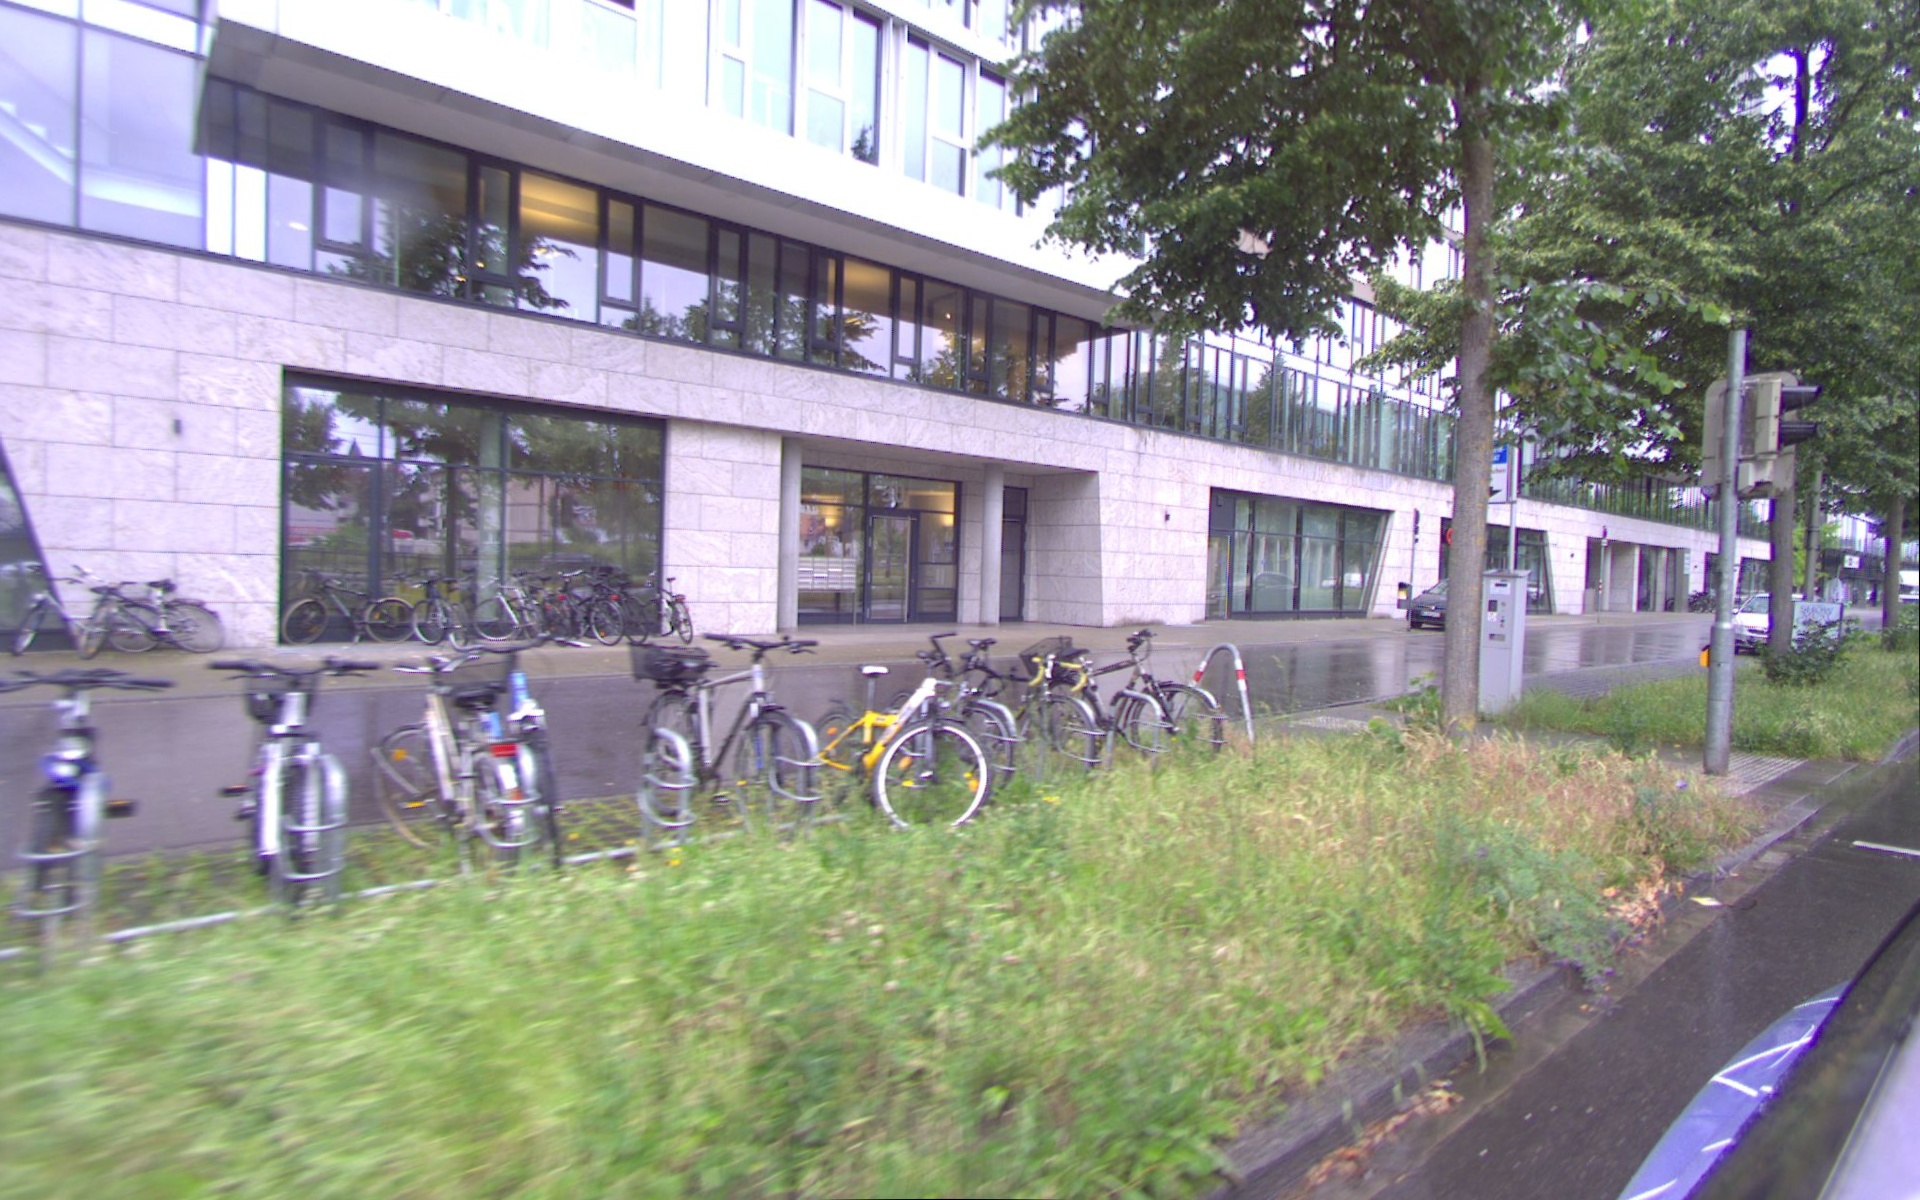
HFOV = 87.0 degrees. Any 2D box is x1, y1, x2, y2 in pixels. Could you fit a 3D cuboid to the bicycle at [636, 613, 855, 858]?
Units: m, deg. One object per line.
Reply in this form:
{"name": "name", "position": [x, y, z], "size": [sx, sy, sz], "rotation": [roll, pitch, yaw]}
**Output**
{"name": "bicycle", "position": [-1.256, 0.678, 5.667], "size": [1.706, 1.116, 0.279], "rotation": [3, 2, 44]}

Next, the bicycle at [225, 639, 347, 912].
{"name": "bicycle", "position": [-2.951, 0.679, 4.390], "size": [0.270, 0.908, 1.413], "rotation": [0, 2, -41]}

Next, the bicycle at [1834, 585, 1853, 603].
{"name": "bicycle", "position": [57.108, -0.377, 65.433], "size": [2.026, 1.144, 0.519], "rotation": [0, 2, -38]}

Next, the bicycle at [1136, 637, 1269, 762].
{"name": "bicycle", "position": [1.983, 0.791, 8.424], "size": [0.270, 0.859, 1.295], "rotation": [0, 2, -28]}

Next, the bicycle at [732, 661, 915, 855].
{"name": "bicycle", "position": [-0.792, 0.827, 5.626], "size": [0.271, 0.860, 1.289], "rotation": [0, 2, -45]}

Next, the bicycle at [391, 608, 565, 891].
{"name": "bicycle", "position": [-2.320, 0.608, 4.778], "size": [0.292, 1.066, 1.615], "rotation": [0, 2, -42]}

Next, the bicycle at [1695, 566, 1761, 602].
{"name": "bicycle", "position": [41.339, -0.884, 54.521], "size": [0.694, 1.883, 2.690], "rotation": [0, 2, -35]}

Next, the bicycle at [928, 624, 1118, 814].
{"name": "bicycle", "position": [0.374, 0.732, 6.826], "size": [0.400, 1.030, 1.580], "rotation": [0, 2, -33]}

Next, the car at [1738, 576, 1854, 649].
{"name": "car", "position": [20.058, 0.322, 24.205], "size": [1.881, 1.525, 4.650], "rotation": [3, 0, 43]}

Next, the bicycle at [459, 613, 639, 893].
{"name": "bicycle", "position": [-2.075, 0.659, 4.997], "size": [0.292, 1.110, 1.615], "rotation": [0, 2, -42]}

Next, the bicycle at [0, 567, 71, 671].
{"name": "bicycle", "position": [-10.077, 0.167, 11.062], "size": [0.415, 1.041, 1.699], "rotation": [-1, 2, -37]}

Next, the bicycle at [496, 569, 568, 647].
{"name": "bicycle", "position": [-6.227, 0.084, 14.681], "size": [0.531, 1.041, 1.812], "rotation": [-1, 2, -37]}

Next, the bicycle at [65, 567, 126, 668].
{"name": "bicycle", "position": [-9.699, 0.156, 11.386], "size": [0.415, 1.041, 1.699], "rotation": [-1, 2, -37]}

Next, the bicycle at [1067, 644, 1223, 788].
{"name": "bicycle", "position": [1.320, 0.810, 7.415], "size": [0.270, 0.859, 1.293], "rotation": [0, 2, -35]}

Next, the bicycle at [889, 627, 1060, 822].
{"name": "bicycle", "position": [0.049, 0.734, 6.506], "size": [0.342, 1.030, 1.444], "rotation": [0, 2, -33]}

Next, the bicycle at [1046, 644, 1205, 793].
{"name": "bicycle", "position": [1.134, 0.792, 7.145], "size": [0.270, 0.868, 1.293], "rotation": [0, 2, -35]}

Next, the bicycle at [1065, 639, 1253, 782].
{"name": "bicycle", "position": [1.474, 0.796, 7.785], "size": [0.270, 0.859, 1.677], "rotation": [0, 2, -36]}

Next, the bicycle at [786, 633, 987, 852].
{"name": "bicycle", "position": [-0.470, 0.752, 5.842], "size": [0.343, 1.030, 1.455], "rotation": [0, 2, -41]}

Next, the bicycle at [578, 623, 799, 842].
{"name": "bicycle", "position": [-1.508, 0.635, 5.428], "size": [1.706, 0.960, 0.308], "rotation": [1, 1, 44]}

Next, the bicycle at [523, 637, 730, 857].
{"name": "bicycle", "position": [-1.766, 0.675, 5.195], "size": [0.308, 0.860, 1.708], "rotation": [0, 2, -43]}

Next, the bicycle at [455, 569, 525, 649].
{"name": "bicycle", "position": [-6.673, 0.093, 14.339], "size": [0.531, 1.041, 1.812], "rotation": [-1, 2, -37]}

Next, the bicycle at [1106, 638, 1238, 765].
{"name": "bicycle", "position": [1.707, 0.792, 8.295], "size": [0.270, 0.859, 1.295], "rotation": [0, 2, -28]}

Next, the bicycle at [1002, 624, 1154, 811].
{"name": "bicycle", "position": [0.771, 0.746, 6.922], "size": [0.270, 1.087, 1.294], "rotation": [0, 2, -32]}

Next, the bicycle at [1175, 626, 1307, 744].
{"name": "bicycle", "position": [2.450, 0.714, 8.943], "size": [0.295, 0.884, 1.295], "rotation": [0, 2, -28]}

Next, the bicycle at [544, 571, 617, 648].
{"name": "bicycle", "position": [-5.665, 0.110, 15.051], "size": [0.531, 1.041, 1.812], "rotation": [-1, 2, -37]}

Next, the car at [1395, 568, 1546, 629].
{"name": "car", "position": [14.673, -0.042, 28.968], "size": [4.944, 1.519, 1.999], "rotation": [1, 3, -40]}

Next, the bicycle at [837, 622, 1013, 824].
{"name": "bicycle", "position": [-0.261, 0.694, 6.267], "size": [0.342, 1.030, 1.444], "rotation": [0, 2, -35]}

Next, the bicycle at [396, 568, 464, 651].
{"name": "bicycle", "position": [-7.280, 0.098, 13.871], "size": [0.531, 1.041, 1.812], "rotation": [-1, 2, -37]}

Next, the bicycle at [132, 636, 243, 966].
{"name": "bicycle", "position": [-3.171, 0.704, 4.118], "size": [0.270, 1.035, 1.618], "rotation": [-1, 1, -40]}

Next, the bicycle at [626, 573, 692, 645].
{"name": "bicycle", "position": [-4.763, 0.114, 15.951], "size": [0.394, 1.041, 1.812], "rotation": [-1, 2, -37]}

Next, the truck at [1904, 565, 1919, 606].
{"name": "truck", "position": [85.574, -1.261, 89.050], "size": [8.405, 3.483, 3.028], "rotation": [-1, 2, -43]}

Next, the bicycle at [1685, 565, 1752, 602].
{"name": "bicycle", "position": [40.116, -0.907, 53.578], "size": [0.694, 1.883, 2.690], "rotation": [0, 2, -35]}

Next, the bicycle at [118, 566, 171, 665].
{"name": "bicycle", "position": [-9.353, 0.144, 11.634], "size": [0.404, 1.041, 1.755], "rotation": [-1, 2, -37]}

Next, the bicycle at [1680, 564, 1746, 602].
{"name": "bicycle", "position": [39.518, -0.901, 53.154], "size": [0.694, 1.883, 2.690], "rotation": [0, 2, -35]}

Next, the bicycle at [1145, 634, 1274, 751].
{"name": "bicycle", "position": [2.130, 0.765, 8.764], "size": [0.270, 0.842, 1.295], "rotation": [0, 2, -28]}

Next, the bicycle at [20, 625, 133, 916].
{"name": "bicycle", "position": [-3.394, 0.559, 3.914], "size": [0.270, 0.860, 1.618], "rotation": [-1, 1, -40]}

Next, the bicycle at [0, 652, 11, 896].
{"name": "bicycle", "position": [-3.589, 0.670, 3.578], "size": [0.270, 0.859, 1.291], "rotation": [0, 2, -40]}

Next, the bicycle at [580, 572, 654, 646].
{"name": "bicycle", "position": [-5.284, 0.108, 15.540], "size": [0.531, 1.041, 1.812], "rotation": [-1, 2, -37]}

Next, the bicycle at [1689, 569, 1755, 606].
{"name": "bicycle", "position": [40.710, -0.708, 54.081], "size": [0.694, 1.883, 2.690], "rotation": [0, 2, -35]}

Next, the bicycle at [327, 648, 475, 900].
{"name": "bicycle", "position": [-2.534, 0.705, 4.532], "size": [0.270, 0.859, 1.407], "rotation": [0, 2, -42]}
